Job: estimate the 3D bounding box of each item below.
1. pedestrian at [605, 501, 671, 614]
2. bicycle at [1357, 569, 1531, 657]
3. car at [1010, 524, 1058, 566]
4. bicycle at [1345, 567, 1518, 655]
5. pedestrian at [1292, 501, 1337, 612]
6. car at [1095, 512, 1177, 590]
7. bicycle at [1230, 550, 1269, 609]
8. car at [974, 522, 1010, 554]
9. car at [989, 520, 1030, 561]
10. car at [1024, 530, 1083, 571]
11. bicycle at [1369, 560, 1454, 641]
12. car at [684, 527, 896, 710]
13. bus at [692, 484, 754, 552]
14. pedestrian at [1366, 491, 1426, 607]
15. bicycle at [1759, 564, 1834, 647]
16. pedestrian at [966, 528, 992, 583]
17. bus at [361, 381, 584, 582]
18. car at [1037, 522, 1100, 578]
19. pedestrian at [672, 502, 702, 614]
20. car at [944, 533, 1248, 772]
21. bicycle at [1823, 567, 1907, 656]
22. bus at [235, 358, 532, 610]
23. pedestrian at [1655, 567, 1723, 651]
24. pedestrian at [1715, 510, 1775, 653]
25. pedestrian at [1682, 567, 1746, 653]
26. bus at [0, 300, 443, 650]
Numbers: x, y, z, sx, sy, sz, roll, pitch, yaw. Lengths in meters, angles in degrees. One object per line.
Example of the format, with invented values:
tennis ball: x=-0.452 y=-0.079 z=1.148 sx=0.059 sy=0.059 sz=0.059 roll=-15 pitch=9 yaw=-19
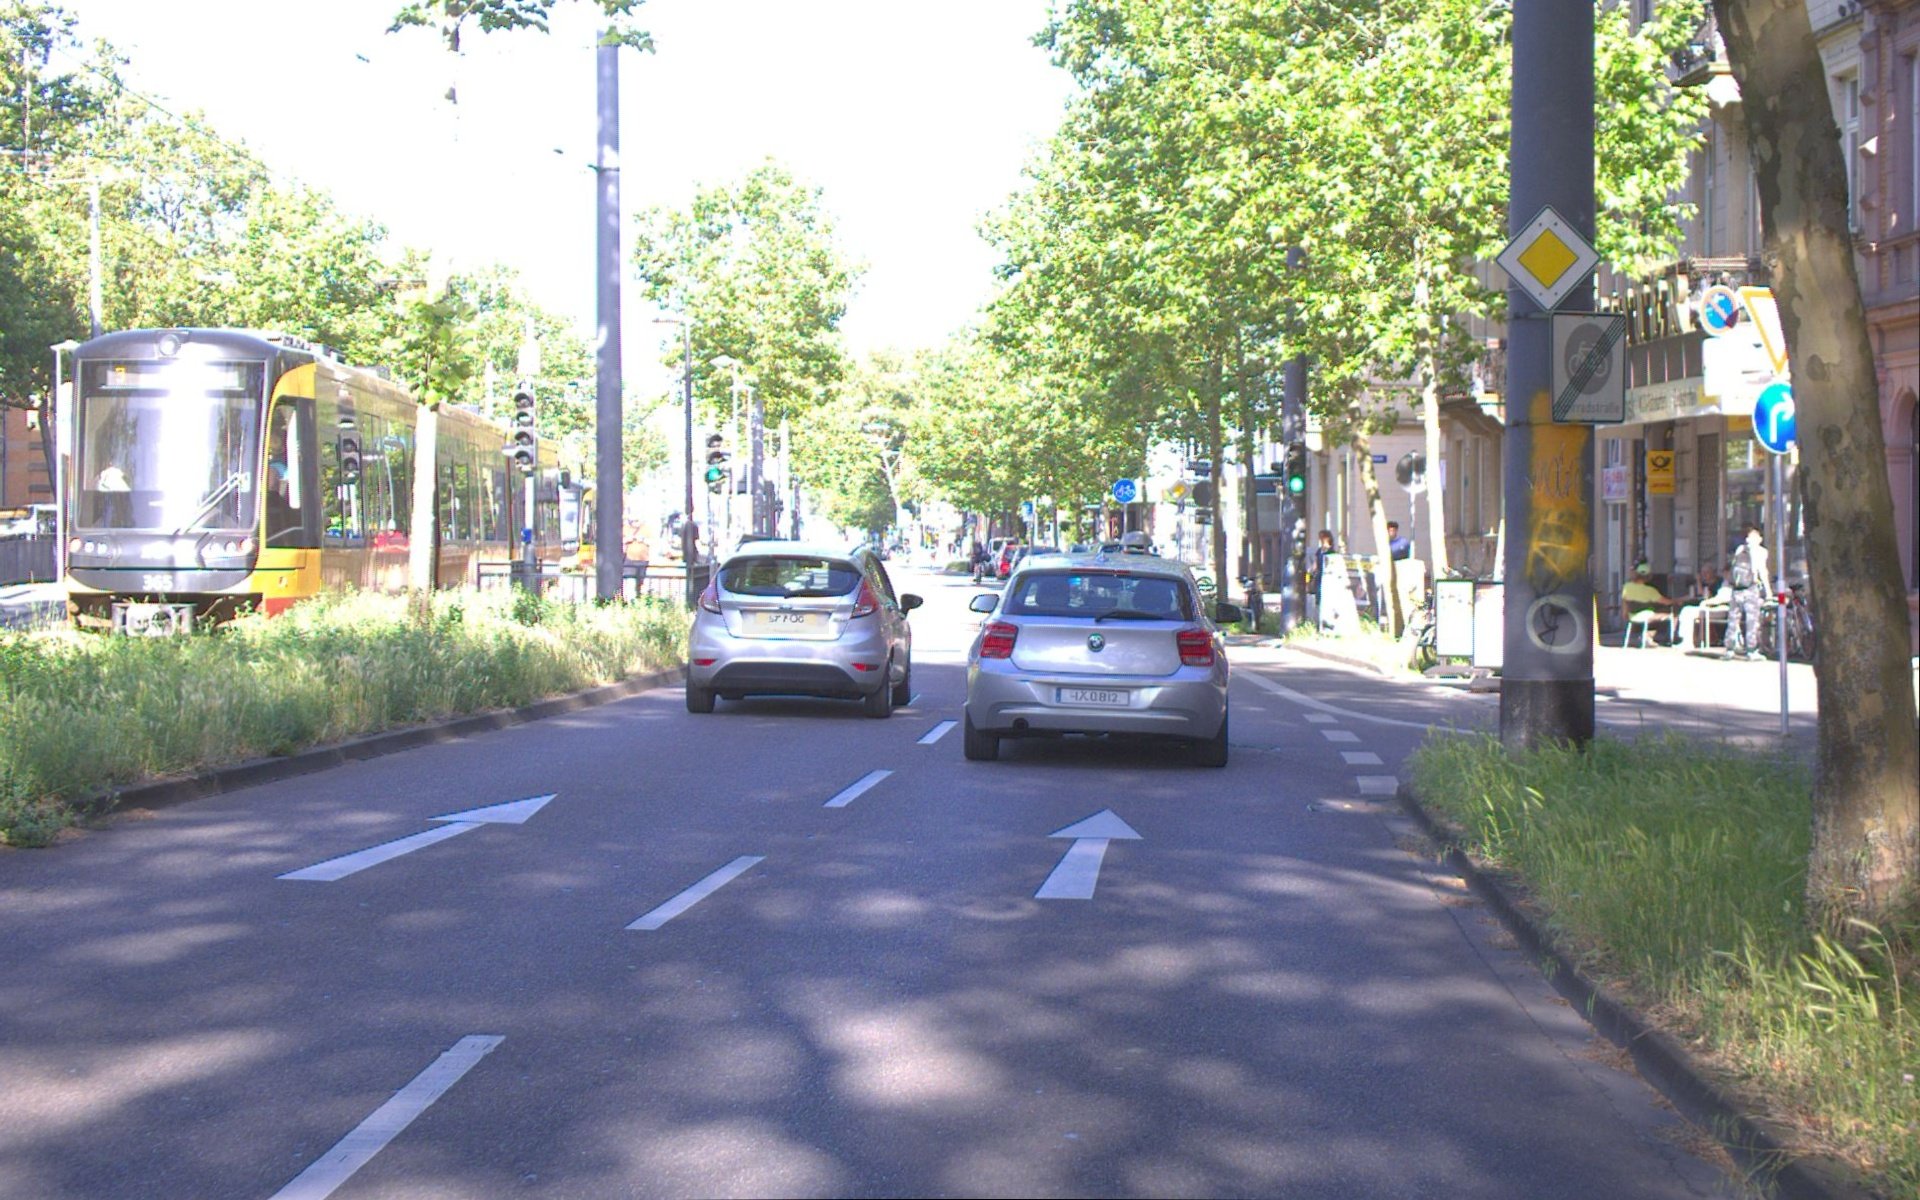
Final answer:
pedestrian: x=-5.531 y=-0.737 z=59.135 sx=1.072 sy=1.909 sz=1.127 roll=1 pitch=1 yaw=-4
bicycle: x=5.868 y=0.157 z=41.728 sx=2.003 sy=0.990 sz=0.444 roll=2 pitch=2 yaw=-4
car: x=2.961 y=-2.229 z=138.783 sx=1.669 sy=1.546 sz=4.001 roll=2 pitch=2 yaw=-2
bicycle: x=5.794 y=0.136 z=42.278 sx=2.013 sy=0.990 sz=0.444 roll=2 pitch=2 yaw=-4
pedestrian: x=5.765 y=-0.713 z=55.943 sx=0.642 sy=1.765 sz=0.868 roll=2 pitch=2 yaw=4
car: x=4.667 y=-1.338 z=91.941 sx=1.754 sy=1.958 sz=4.738 roll=1 pitch=2 yaw=-2
bicycle: x=5.022 y=-0.368 z=59.662 sx=0.428 sy=0.967 sz=1.751 roll=2 pitch=2 yaw=-2
car: x=1.658 y=-3.267 z=180.818 sx=1.700 sy=1.529 sz=3.717 roll=2 pitch=2 yaw=-2
car: x=2.351 y=-2.868 z=164.358 sx=1.724 sy=1.874 sz=4.001 roll=2 pitch=1 yaw=-2
car: x=3.605 y=-1.927 z=133.446 sx=1.993 sy=1.504 sz=4.598 roll=2 pitch=1 yaw=-2
bicycle: x=5.973 y=-0.005 z=45.590 sx=0.442 sy=0.990 sz=1.689 roll=2 pitch=2 yaw=-16
car: x=-1.410 y=0.112 z=29.413 sx=1.646 sy=1.358 sz=3.760 roll=2 pitch=2 yaw=-2
bus: x=-13.401 y=-4.724 z=195.581 sx=2.749 sy=3.613 sz=18.850 roll=1 pitch=2 yaw=-2
pedestrian: x=7.678 y=-0.904 z=60.564 sx=0.882 sy=2.006 sz=0.856 roll=2 pitch=2 yaw=2
bicycle: x=10.785 y=0.060 z=44.350 sx=0.442 sy=0.990 sz=1.689 roll=2 pitch=2 yaw=-3
pedestrian: x=0.711 y=-1.671 z=129.272 sx=0.838 sy=2.006 sz=0.648 roll=2 pitch=2 yaw=5
bus: x=-9.073 y=-2.178 z=65.326 sx=2.869 sy=3.432 sz=11.612 roll=1 pitch=1 yaw=-2
car: x=3.367 y=-1.576 z=107.249 sx=1.692 sy=1.652 sz=4.040 roll=0 pitch=2 yaw=-2
pedestrian: x=-4.680 y=-0.722 z=58.922 sx=0.450 sy=1.896 sz=0.585 roll=1 pitch=1 yaw=-9
car: x=0.872 y=0.304 z=24.319 sx=1.762 sy=1.427 sz=4.001 roll=2 pitch=2 yaw=-3
bicycle: x=10.894 y=0.129 z=41.435 sx=0.442 sy=0.990 sz=1.689 roll=2 pitch=2 yaw=-3
bus: x=-8.697 y=-1.724 z=53.405 sx=2.869 sy=3.432 sz=12.216 roll=1 pitch=1 yaw=-2
pedestrian: x=10.372 y=0.123 z=48.898 sx=0.771 sy=1.157 sz=0.469 roll=1 pitch=2 yaw=-27
pedestrian: x=10.056 y=-0.243 z=44.050 sx=0.468 sy=1.804 sz=0.773 roll=3 pitch=2 yaw=30
pedestrian: x=10.598 y=0.140 z=48.331 sx=0.645 sy=1.157 sz=0.611 roll=2 pitch=2 yaw=-13
bus: x=-8.364 y=-1.377 z=40.623 sx=2.869 sy=3.432 sz=13.218 roll=1 pitch=1 yaw=-2
